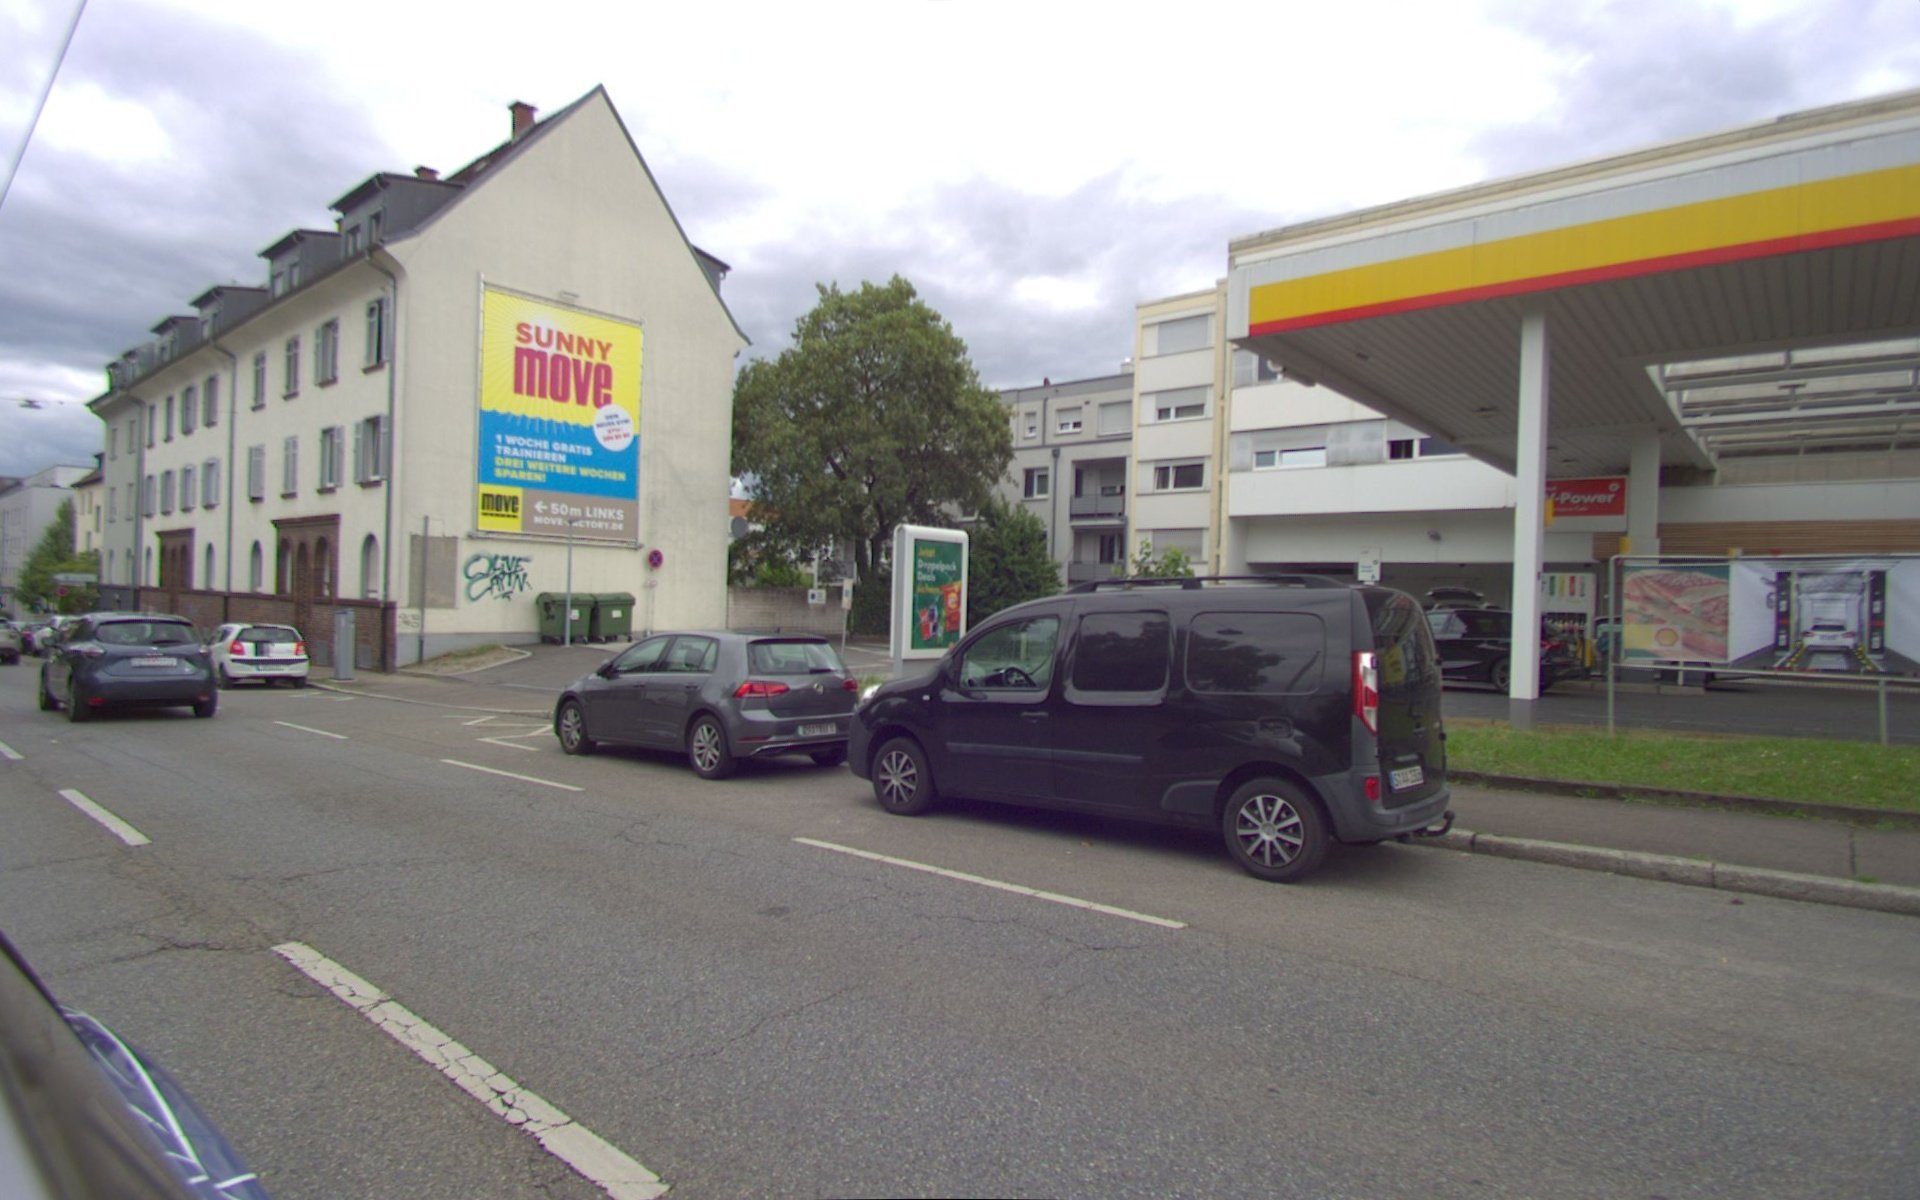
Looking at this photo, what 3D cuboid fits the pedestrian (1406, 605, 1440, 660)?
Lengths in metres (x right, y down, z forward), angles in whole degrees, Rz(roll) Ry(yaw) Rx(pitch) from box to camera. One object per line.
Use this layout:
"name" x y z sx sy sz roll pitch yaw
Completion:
"pedestrian" 13.316 0.927 29.111 0.665 1.528 0.789 -2 -1 43

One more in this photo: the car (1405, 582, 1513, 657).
"car" 14.160 0.539 28.608 1.835 1.978 3.854 -1 -1 41

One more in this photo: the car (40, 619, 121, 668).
"car" -31.298 1.528 35.970 4.502 1.611 1.708 -2 -3 43

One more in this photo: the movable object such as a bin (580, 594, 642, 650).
"movable object such as a bin" -10.065 0.643 29.206 1.104 1.550 1.251 -1 -4 41

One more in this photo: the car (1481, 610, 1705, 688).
"car" 12.867 0.942 20.656 3.634 1.431 1.779 -1 -1 41

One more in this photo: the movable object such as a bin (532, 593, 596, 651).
"movable object such as a bin" -11.008 0.630 28.169 1.104 1.550 1.251 -1 -4 41

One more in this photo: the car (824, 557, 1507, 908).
"car" 1.272 0.766 7.569 4.698 1.849 1.833 -1 -3 40

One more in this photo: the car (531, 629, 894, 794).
"car" -2.844 1.070 11.129 4.216 1.461 1.772 -1 -3 41

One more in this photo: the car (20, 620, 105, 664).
"car" -35.361 1.639 39.831 4.640 1.634 1.826 -2 -3 40

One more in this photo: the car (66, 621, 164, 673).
"car" -27.450 1.499 32.828 4.079 1.570 1.709 -1 -4 41

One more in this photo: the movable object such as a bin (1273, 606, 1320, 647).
"movable object such as a bin" 11.679 0.919 35.125 1.242 1.384 1.139 -1 -1 39

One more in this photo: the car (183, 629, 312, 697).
"car" -16.383 1.386 23.220 3.664 1.436 1.602 -2 -3 42

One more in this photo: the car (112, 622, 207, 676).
"car" -23.509 1.413 29.682 3.602 1.486 1.531 -1 -3 41

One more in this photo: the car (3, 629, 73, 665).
"car" -39.543 1.992 43.393 4.189 1.440 1.709 -2 -3 41

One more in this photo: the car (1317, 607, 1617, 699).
"car" 8.800 0.864 17.815 4.415 1.431 1.779 -1 -1 41

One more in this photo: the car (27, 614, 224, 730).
"car" -12.856 1.030 15.525 3.716 1.567 1.665 -1 -3 40

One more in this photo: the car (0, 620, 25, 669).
"car" -31.648 1.416 32.608 3.998 1.536 1.779 -1 -3 41
